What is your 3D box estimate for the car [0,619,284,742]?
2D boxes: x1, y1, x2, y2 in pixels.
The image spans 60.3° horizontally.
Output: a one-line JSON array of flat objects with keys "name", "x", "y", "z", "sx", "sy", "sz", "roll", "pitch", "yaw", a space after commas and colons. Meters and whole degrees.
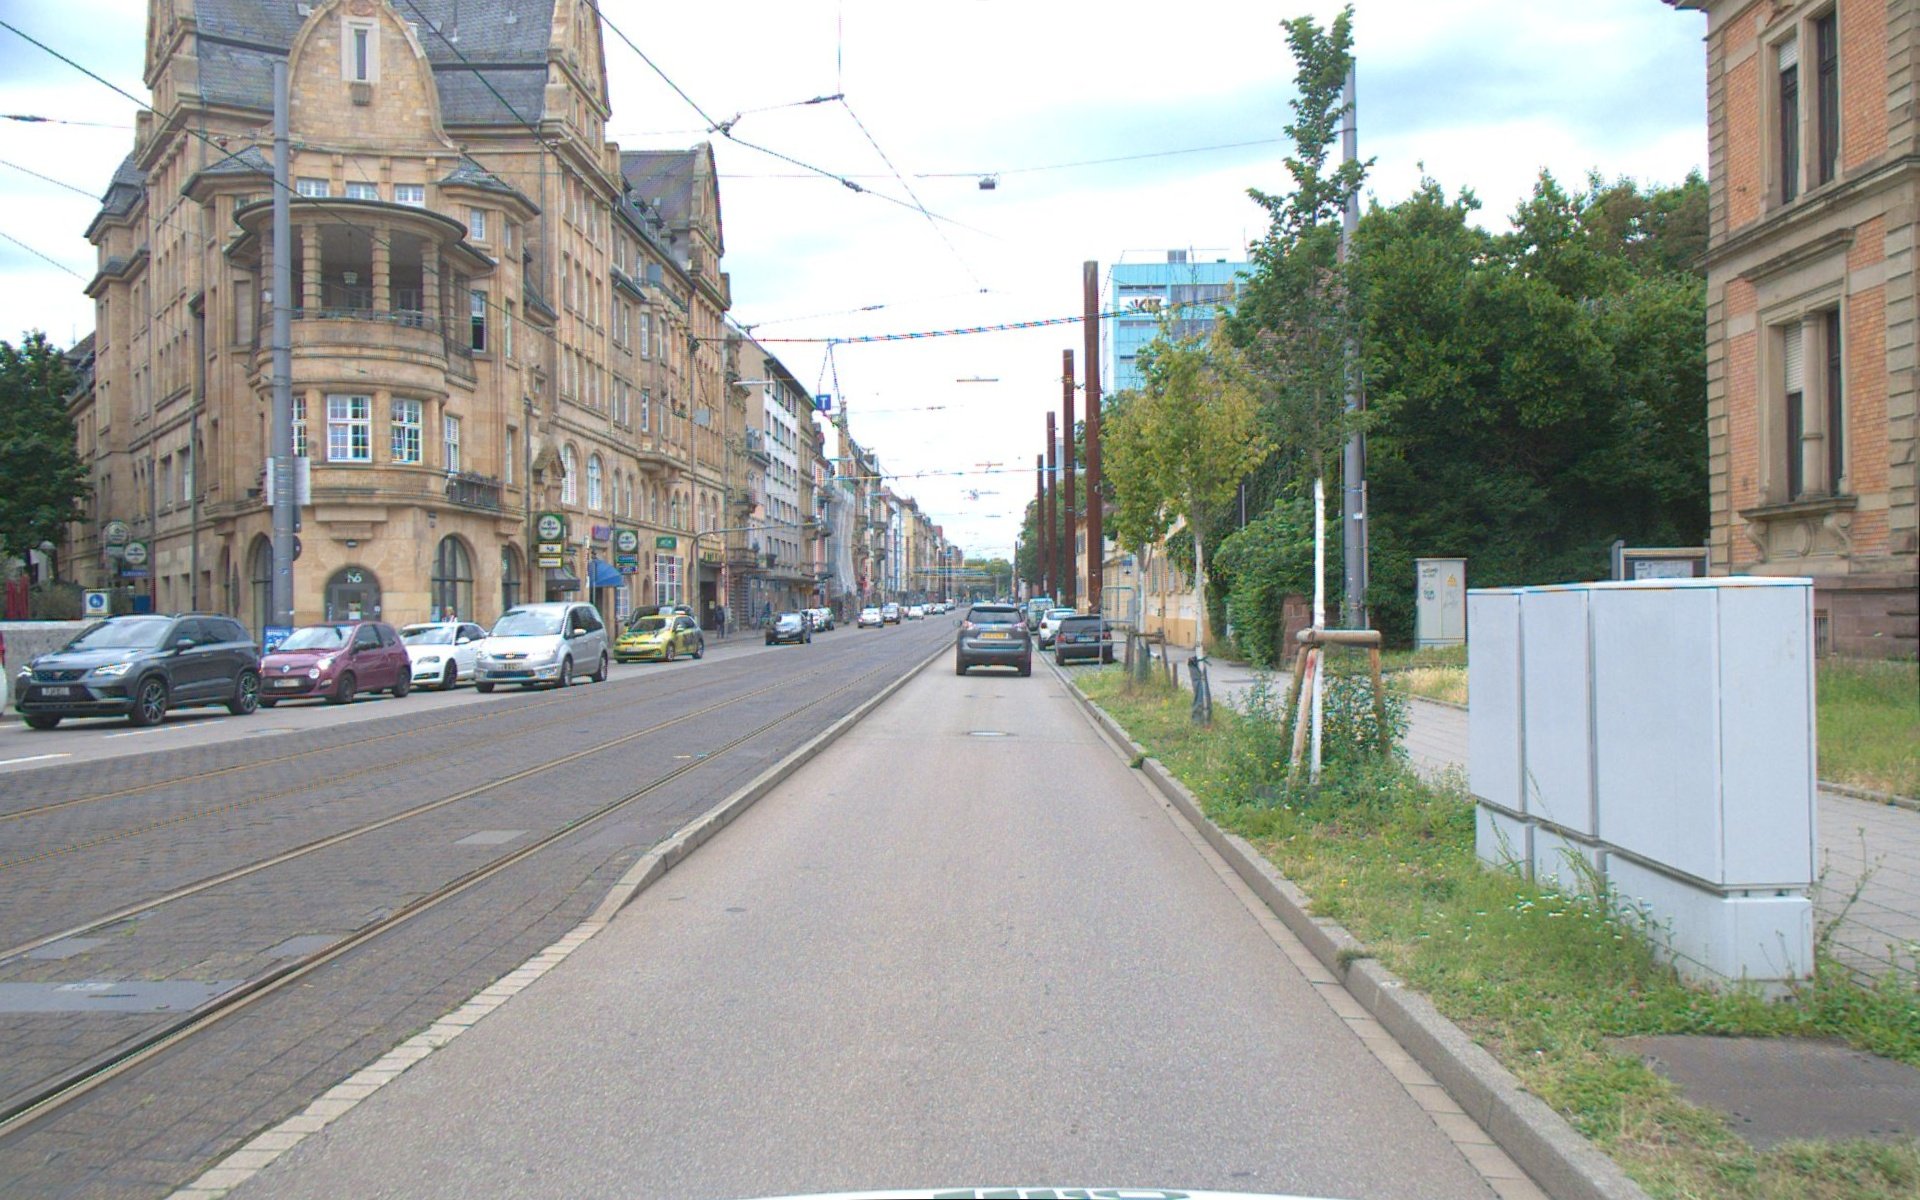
[{"name": "car", "x": -12.077, "y": 1.120, "z": 24.661, "sx": 1.823, "sy": 1.561, "sz": 4.305, "roll": -2, "pitch": 0, "yaw": 6}]

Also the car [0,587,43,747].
[{"name": "car", "x": -12.786, "y": 0.817, "z": 18.484, "sx": 1.823, "sy": 1.949, "sz": 5.104, "roll": -1, "pitch": 0, "yaw": 6}]

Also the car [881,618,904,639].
[{"name": "car", "x": -5.911, "y": 2.489, "z": 145.122, "sx": 1.723, "sy": 1.701, "sz": 4.615, "roll": -1, "pitch": 0, "yaw": 1}]

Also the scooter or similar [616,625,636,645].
[{"name": "scooter or similar", "x": -14.412, "y": 1.514, "z": 71.450, "sx": 0.569, "sy": 0.817, "sz": 1.345, "roll": 0, "pitch": 0, "yaw": 1}]

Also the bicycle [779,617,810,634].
[{"name": "bicycle", "x": -10.553, "y": 1.631, "z": 105.432, "sx": 1.928, "sy": 1.019, "sz": 0.462, "roll": -1, "pitch": 0, "yaw": -7}]

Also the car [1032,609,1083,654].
[{"name": "car", "x": 3.758, "y": 1.180, "z": 64.030, "sx": 1.719, "sy": 1.602, "sz": 3.931, "roll": -3, "pitch": 0, "yaw": 1}]

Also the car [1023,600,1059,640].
[{"name": "car", "x": 4.678, "y": 1.162, "z": 95.795, "sx": 1.813, "sy": 2.152, "sz": 4.985, "roll": -3, "pitch": 0, "yaw": 1}]

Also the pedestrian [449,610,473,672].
[{"name": "pedestrian", "x": -14.240, "y": 1.167, "z": 47.202, "sx": 0.619, "sy": 1.749, "sz": 0.531, "roll": 0, "pitch": -1, "yaw": -13}]

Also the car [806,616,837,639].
[{"name": "car", "x": -9.749, "y": 1.939, "z": 116.430, "sx": 1.739, "sy": 1.531, "sz": 4.402, "roll": -1, "pitch": 0, "yaw": 1}]

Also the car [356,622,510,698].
[{"name": "car", "x": -11.281, "y": 1.249, "z": 35.715, "sx": 1.710, "sy": 1.404, "sz": 4.363, "roll": -3, "pitch": 0, "yaw": 2}]

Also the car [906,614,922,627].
[{"name": "car", "x": -5.296, "y": 2.368, "z": 190.757, "sx": 1.652, "sy": 1.445, "sz": 4.135, "roll": -1, "pitch": 0, "yaw": 1}]

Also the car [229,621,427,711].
[{"name": "car", "x": -11.465, "y": 1.160, "z": 30.285, "sx": 1.824, "sy": 1.423, "sz": 3.897, "roll": -3, "pitch": 0, "yaw": 5}]

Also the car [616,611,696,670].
[{"name": "car", "x": -11.280, "y": 1.464, "z": 61.671, "sx": 1.860, "sy": 2.011, "sz": 5.098, "roll": -3, "pitch": 0, "yaw": 1}]

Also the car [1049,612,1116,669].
[{"name": "car", "x": 3.470, "y": 1.134, "z": 47.445, "sx": 1.604, "sy": 1.458, "sz": 3.931, "roll": -3, "pitch": 0, "yaw": 1}]

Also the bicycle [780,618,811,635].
[{"name": "bicycle", "x": -10.375, "y": 1.659, "z": 104.404, "sx": 1.928, "sy": 1.019, "sz": 0.462, "roll": -1, "pitch": 0, "yaw": -7}]

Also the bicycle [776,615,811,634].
[{"name": "bicycle", "x": -10.686, "y": 1.578, "z": 106.137, "sx": 2.188, "sy": 1.146, "sz": 0.503, "roll": -1, "pitch": 0, "yaw": -7}]

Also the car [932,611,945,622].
[{"name": "car", "x": -3.420, "y": 2.650, "z": 261.351, "sx": 1.953, "sy": 1.664, "sz": 3.998, "roll": 0, "pitch": -1, "yaw": -2}]

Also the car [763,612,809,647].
[{"name": "car", "x": -7.950, "y": 1.345, "z": 75.965, "sx": 1.791, "sy": 1.458, "sz": 4.664, "roll": -3, "pitch": 0, "yaw": -3}]

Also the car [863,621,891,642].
[{"name": "car", "x": -6.279, "y": 2.349, "z": 125.211, "sx": 1.723, "sy": 1.475, "sz": 4.615, "roll": -1, "pitch": 0, "yaw": 1}]

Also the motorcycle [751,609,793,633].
[{"name": "motorcycle", "x": -11.080, "y": 1.231, "z": 97.412, "sx": 2.317, "sy": 1.325, "sz": 0.872, "roll": 0, "pitch": 0, "yaw": -36}]

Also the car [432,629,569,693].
[{"name": "car", "x": -11.209, "y": 1.457, "z": 40.658, "sx": 1.886, "sy": 1.404, "sz": 4.260, "roll": -1, "pitch": 0, "yaw": 4}]

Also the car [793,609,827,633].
[{"name": "car", "x": -9.936, "y": 1.398, "z": 109.715, "sx": 1.739, "sy": 1.531, "sz": 4.402, "roll": -1, "pitch": 0, "yaw": 1}]

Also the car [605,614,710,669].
[{"name": "car", "x": -9.513, "y": 1.277, "z": 52.352, "sx": 1.858, "sy": 1.537, "sz": 4.432, "roll": -2, "pitch": 0, "yaw": 9}]

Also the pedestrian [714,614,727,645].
[{"name": "pedestrian", "x": -12.608, "y": 1.572, "z": 87.191, "sx": 0.556, "sy": 1.626, "sz": 0.718, "roll": -1, "pitch": 0, "yaw": 1}]

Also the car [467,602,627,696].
[{"name": "car", "x": -8.375, "y": 0.934, "z": 34.033, "sx": 1.824, "sy": 1.736, "sz": 4.910, "roll": -2, "pitch": 0, "yaw": 2}]

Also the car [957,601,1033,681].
[{"name": "car", "x": 0.864, "y": 0.954, "z": 40.196, "sx": 1.713, "sy": 1.786, "sz": 3.924, "roll": 2, "pitch": 0, "yaw": 1}]
